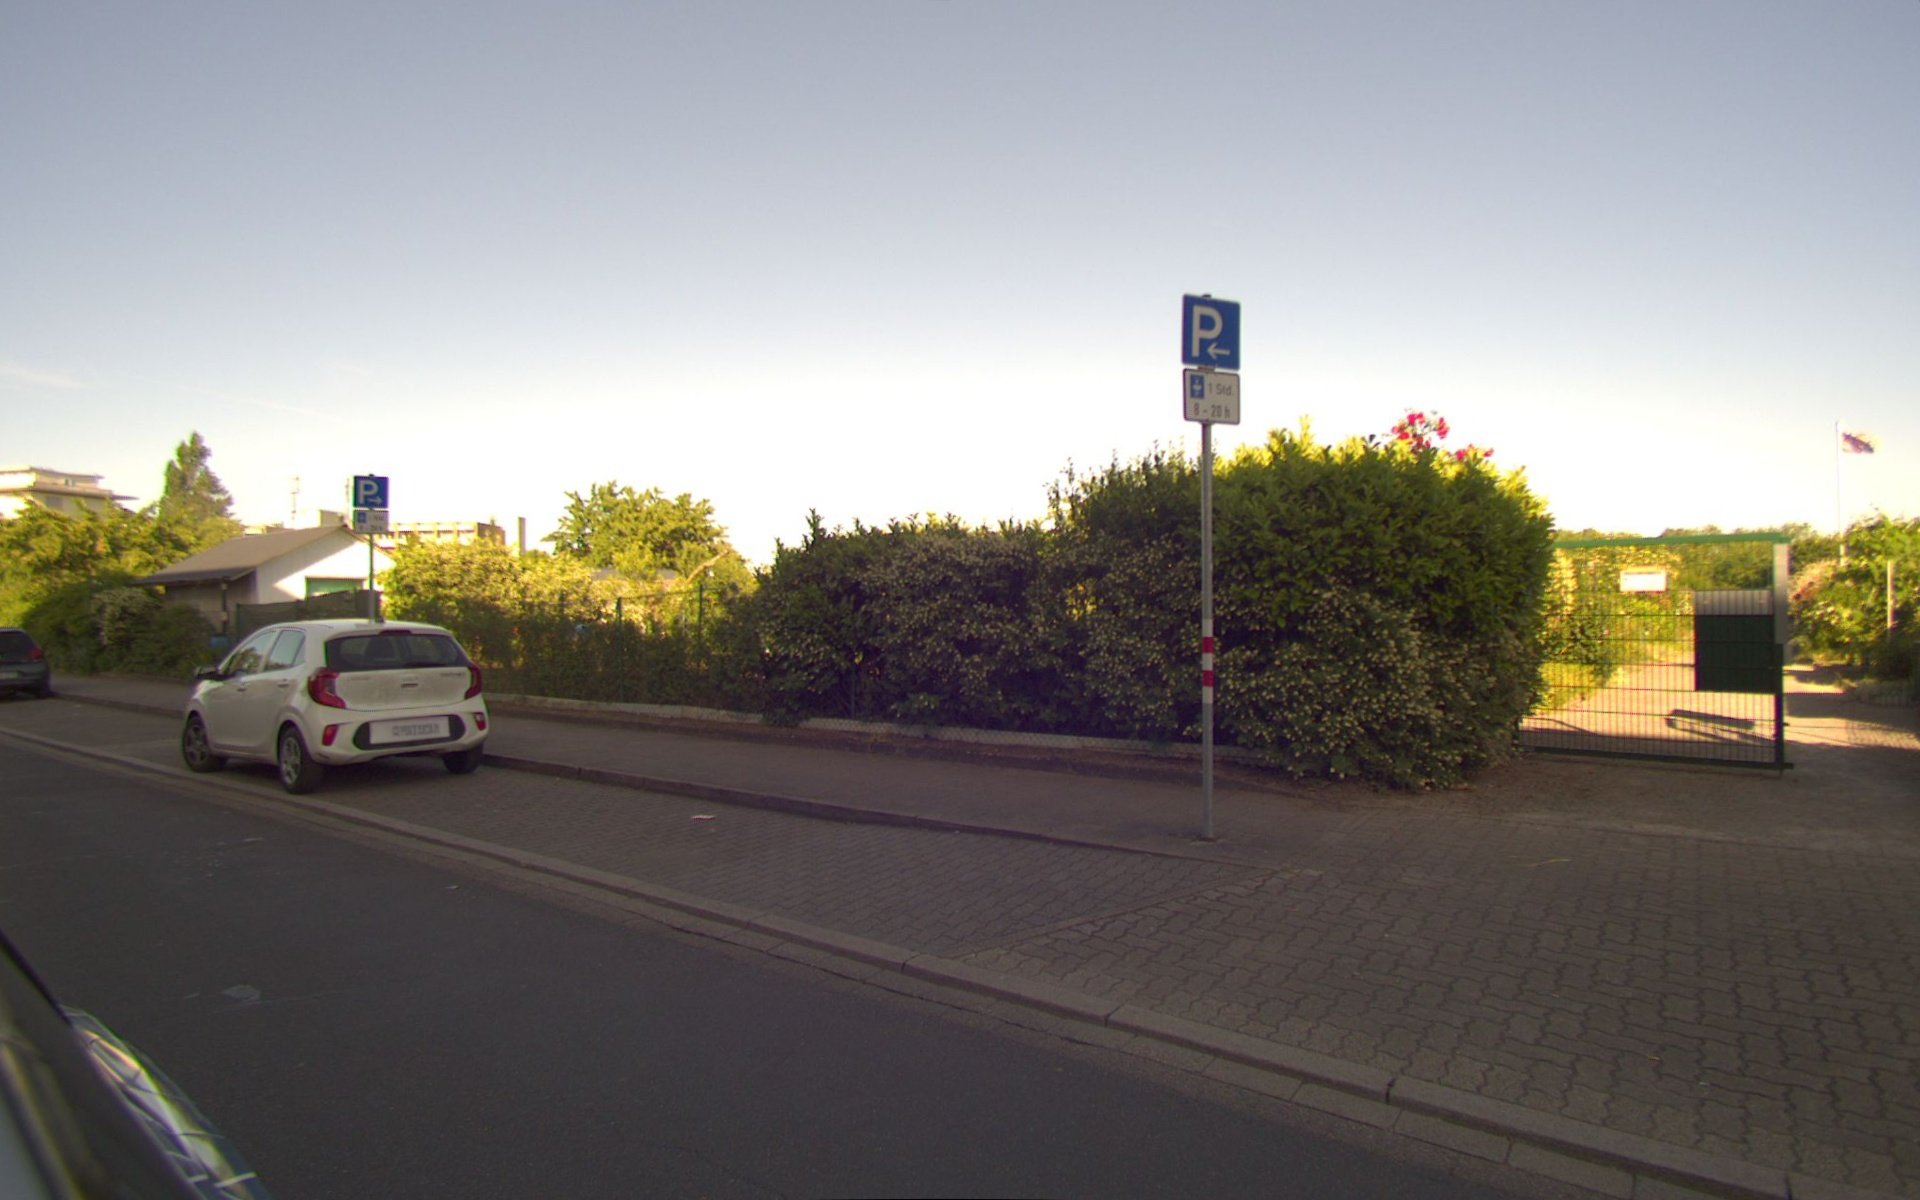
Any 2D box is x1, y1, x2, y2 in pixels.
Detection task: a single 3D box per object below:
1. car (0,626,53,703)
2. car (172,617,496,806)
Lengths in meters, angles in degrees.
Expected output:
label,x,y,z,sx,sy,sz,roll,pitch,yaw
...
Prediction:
label,x,y,z,sx,sy,sz,roll,pitch,yaw
car,-20.123,1.293,20.519,4.508,1.434,1.681,-1,1,36
car,-6.105,0.937,9.763,3.395,1.499,1.514,-1,-1,36
